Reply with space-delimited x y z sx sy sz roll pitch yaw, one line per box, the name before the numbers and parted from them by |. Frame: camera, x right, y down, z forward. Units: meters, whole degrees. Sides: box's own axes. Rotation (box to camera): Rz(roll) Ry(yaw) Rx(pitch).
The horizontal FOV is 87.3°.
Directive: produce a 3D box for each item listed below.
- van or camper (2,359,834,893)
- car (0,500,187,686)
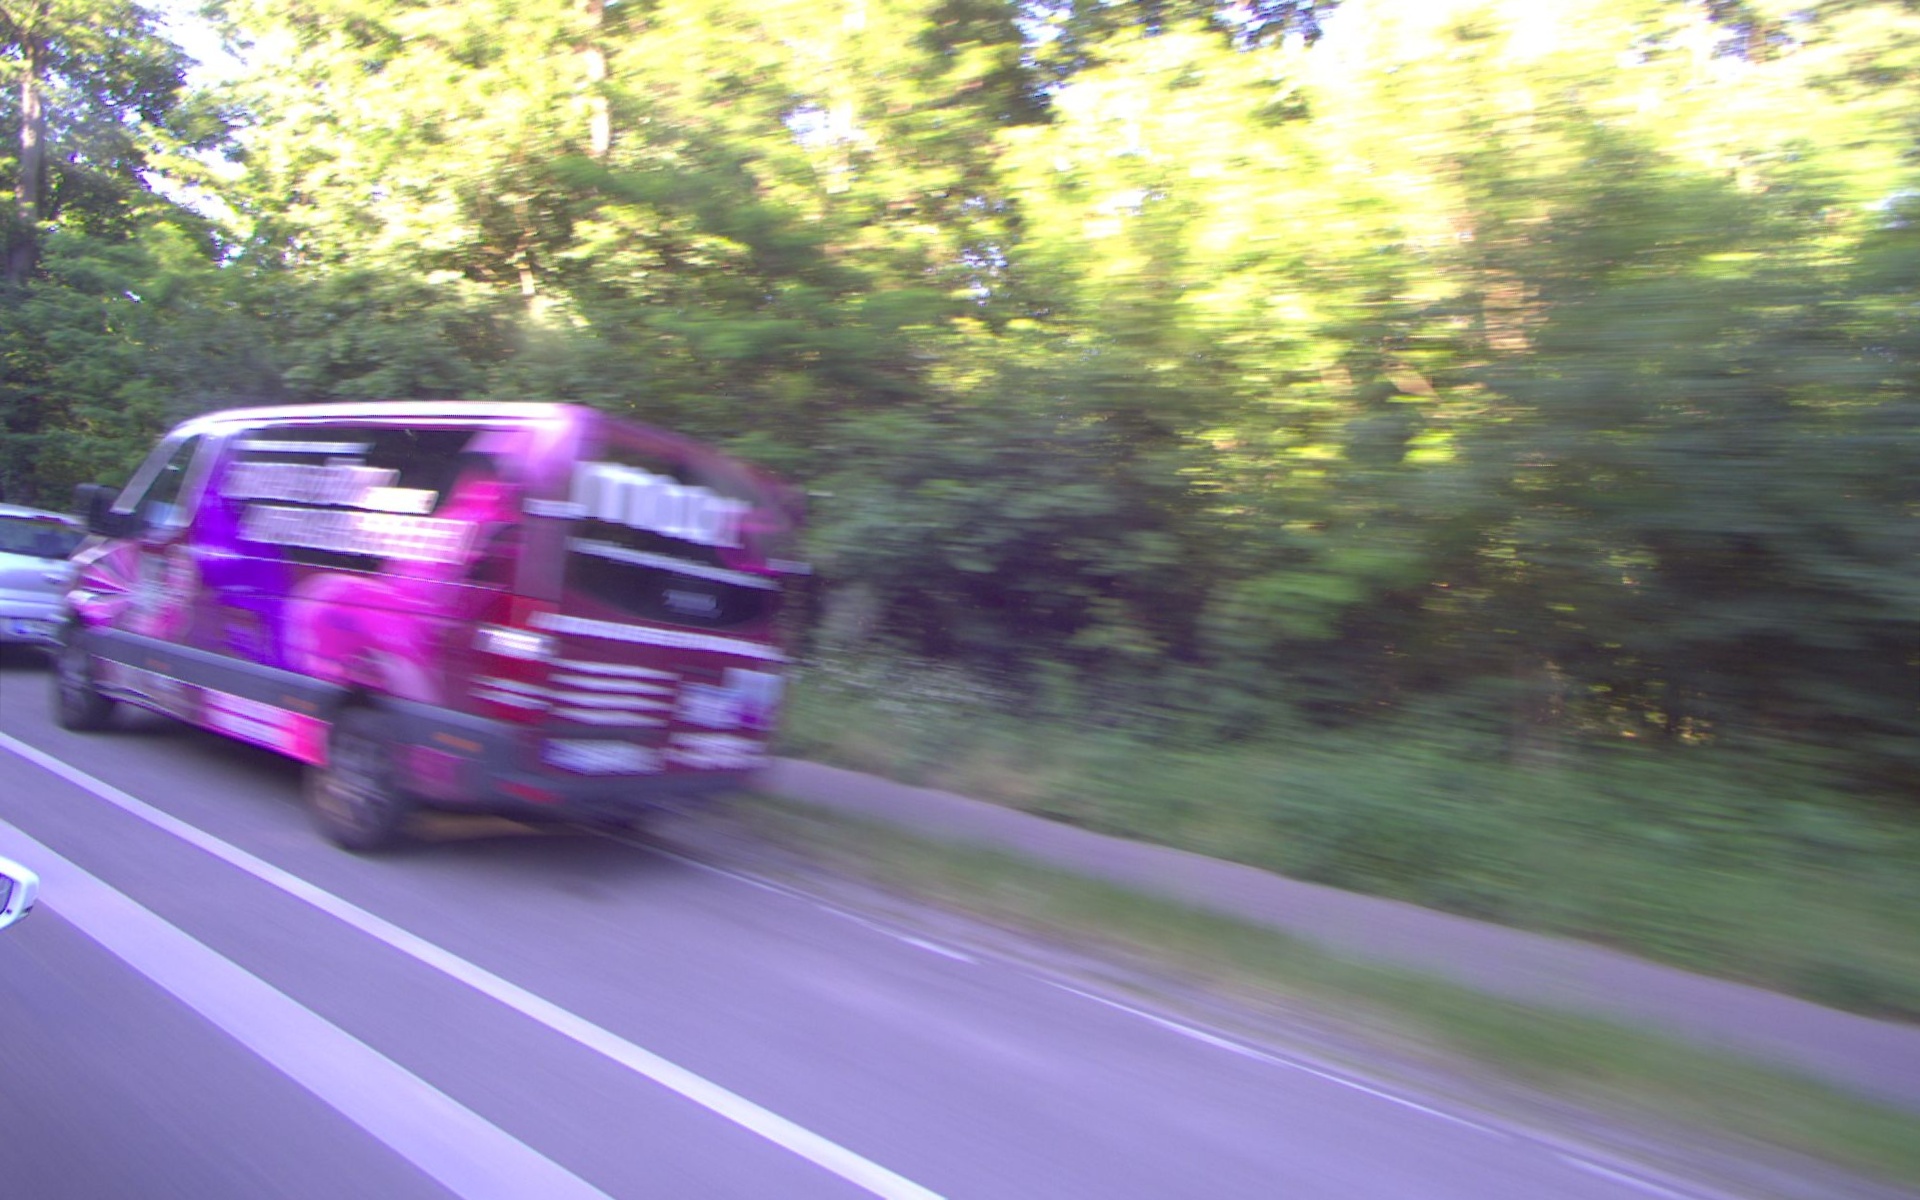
van or camper | -3.939 -0.123 6.789 5.939 2.341 2.037 7 1 31
car | -9.837 -0.231 10.107 3.932 1.531 1.753 7 -4 30
